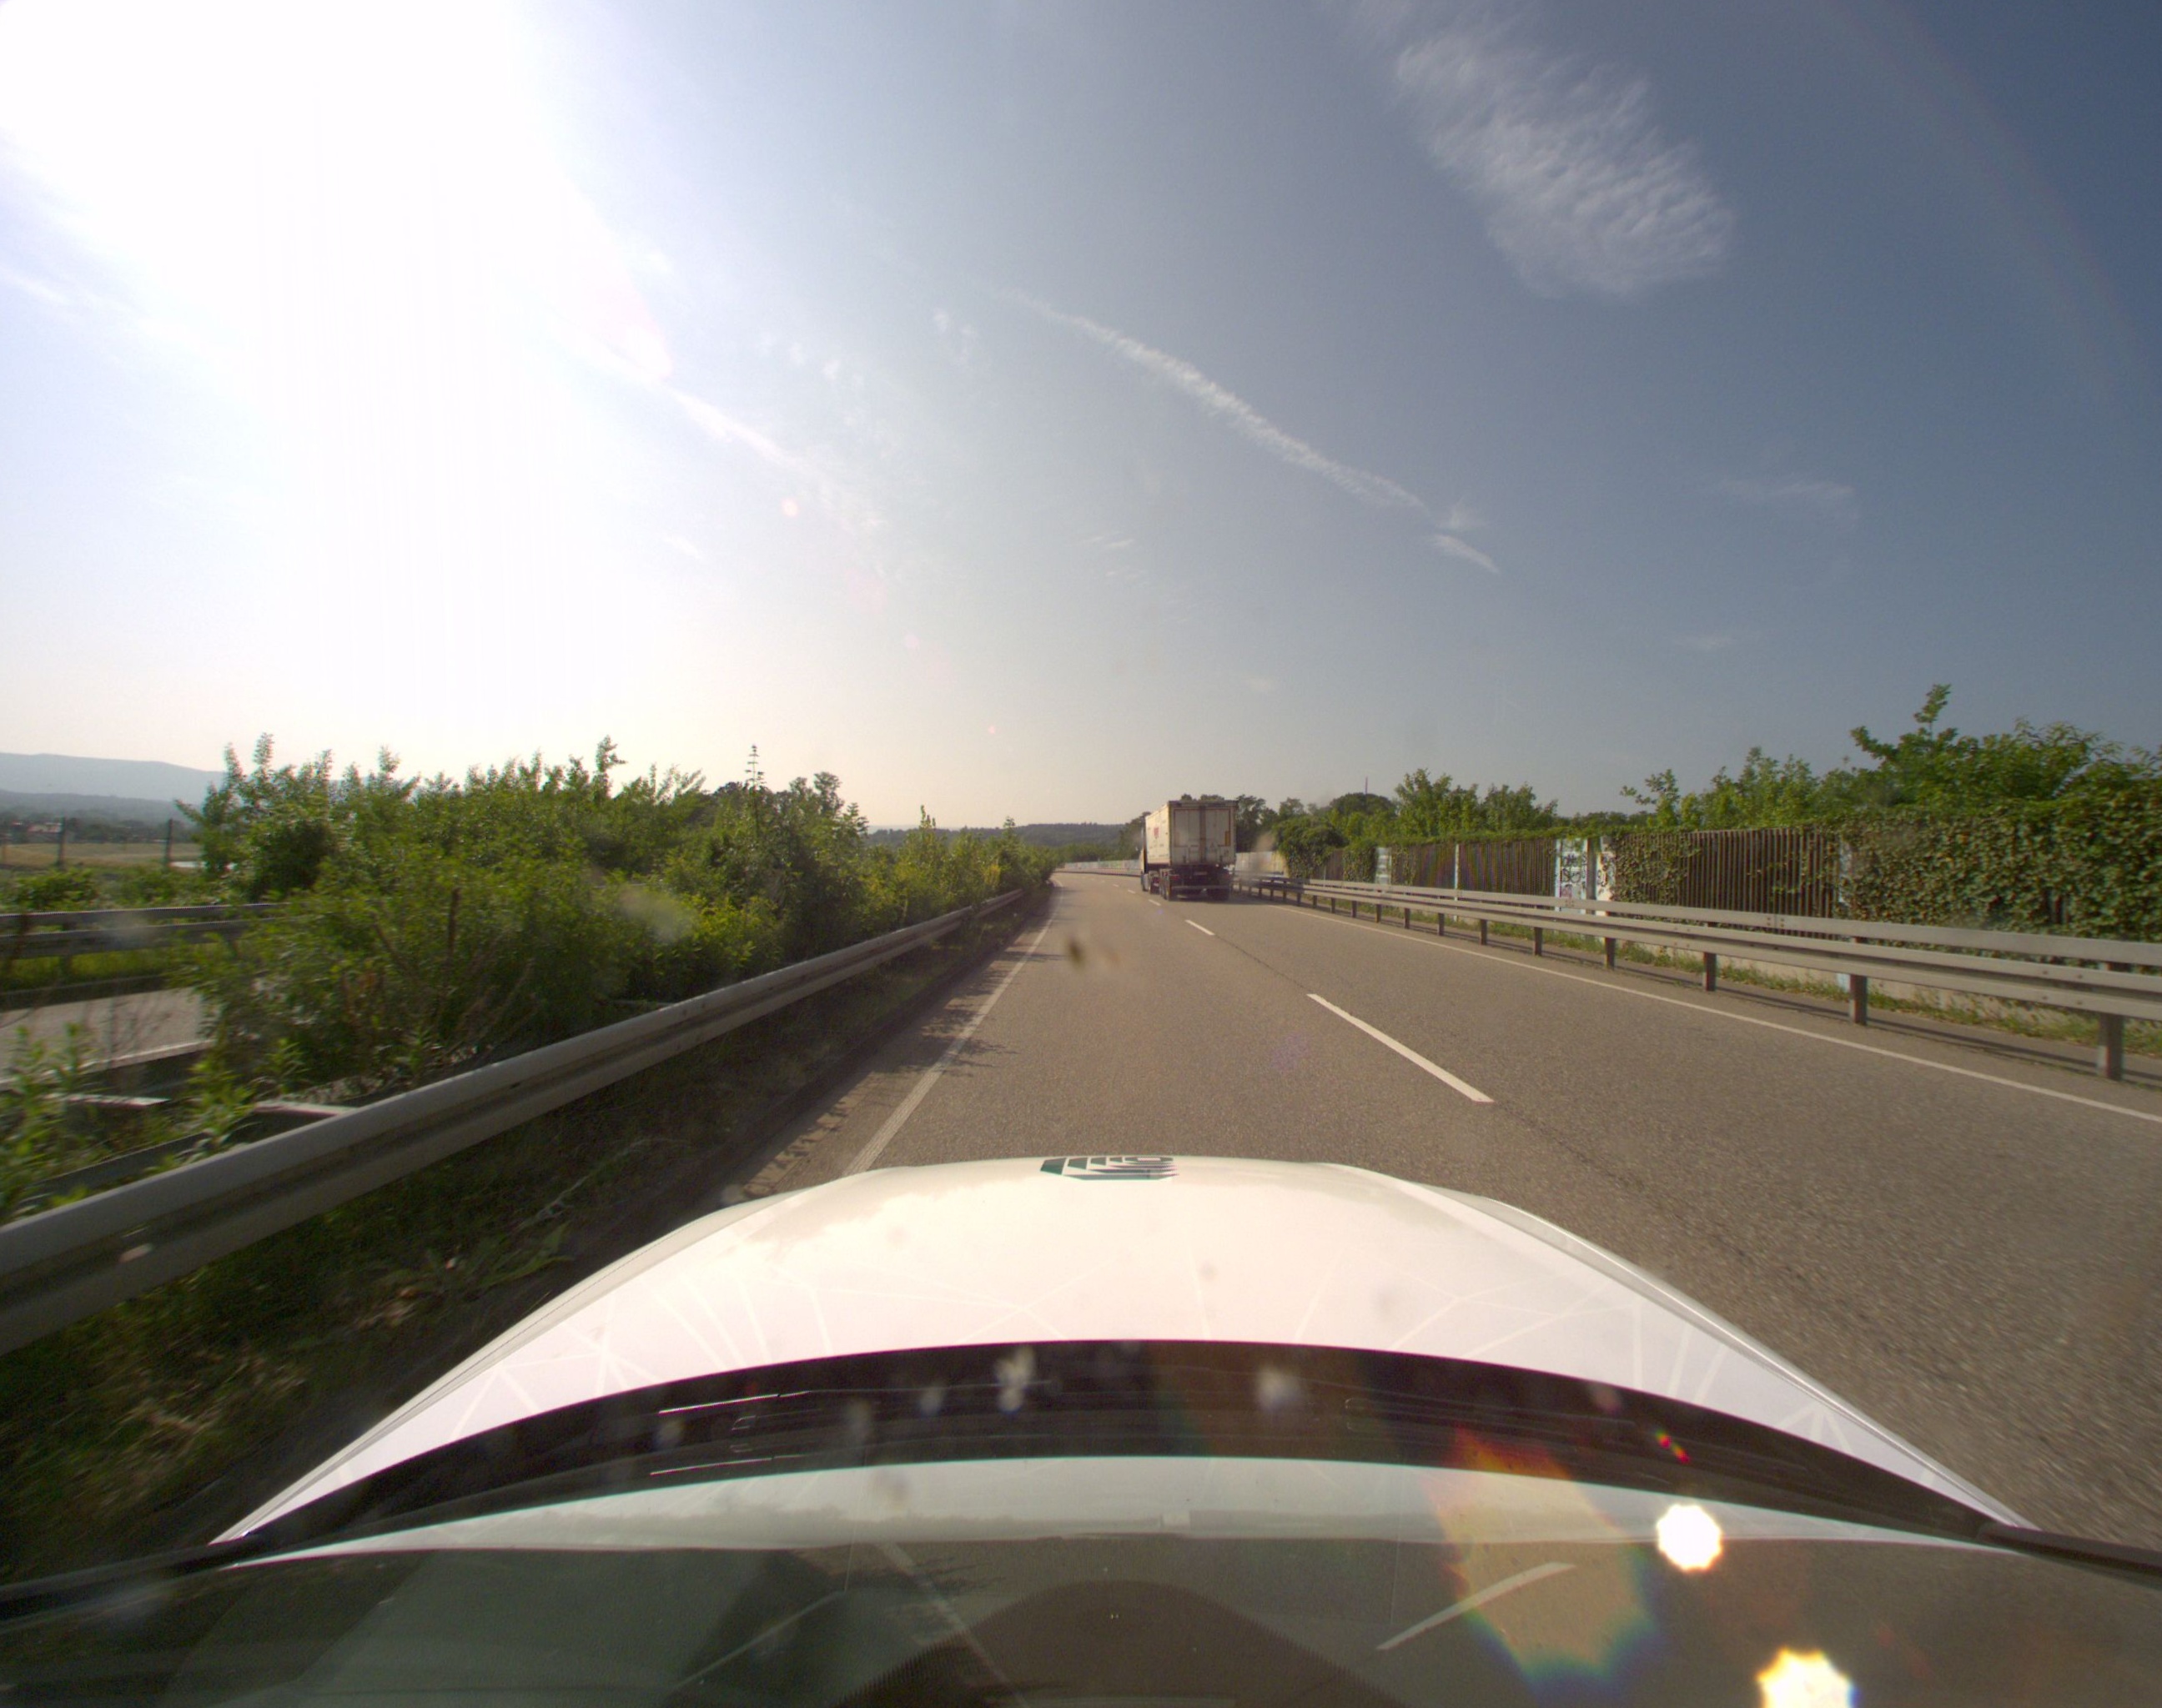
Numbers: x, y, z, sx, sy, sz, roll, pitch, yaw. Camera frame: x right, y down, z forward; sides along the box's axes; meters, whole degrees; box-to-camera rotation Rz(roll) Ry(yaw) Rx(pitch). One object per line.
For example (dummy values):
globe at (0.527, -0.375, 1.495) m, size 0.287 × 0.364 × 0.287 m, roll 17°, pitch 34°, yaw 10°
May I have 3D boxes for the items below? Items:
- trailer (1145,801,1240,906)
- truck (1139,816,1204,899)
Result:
trailer at (4.542, 0.080, 35.153) m, size 2.671 × 3.907 × 9.667 m, roll 0°, pitch -1°, yaw -1°
truck at (4.484, 0.186, 41.179) m, size 2.650 × 3.896 × 5.646 m, roll 0°, pitch -1°, yaw 0°
